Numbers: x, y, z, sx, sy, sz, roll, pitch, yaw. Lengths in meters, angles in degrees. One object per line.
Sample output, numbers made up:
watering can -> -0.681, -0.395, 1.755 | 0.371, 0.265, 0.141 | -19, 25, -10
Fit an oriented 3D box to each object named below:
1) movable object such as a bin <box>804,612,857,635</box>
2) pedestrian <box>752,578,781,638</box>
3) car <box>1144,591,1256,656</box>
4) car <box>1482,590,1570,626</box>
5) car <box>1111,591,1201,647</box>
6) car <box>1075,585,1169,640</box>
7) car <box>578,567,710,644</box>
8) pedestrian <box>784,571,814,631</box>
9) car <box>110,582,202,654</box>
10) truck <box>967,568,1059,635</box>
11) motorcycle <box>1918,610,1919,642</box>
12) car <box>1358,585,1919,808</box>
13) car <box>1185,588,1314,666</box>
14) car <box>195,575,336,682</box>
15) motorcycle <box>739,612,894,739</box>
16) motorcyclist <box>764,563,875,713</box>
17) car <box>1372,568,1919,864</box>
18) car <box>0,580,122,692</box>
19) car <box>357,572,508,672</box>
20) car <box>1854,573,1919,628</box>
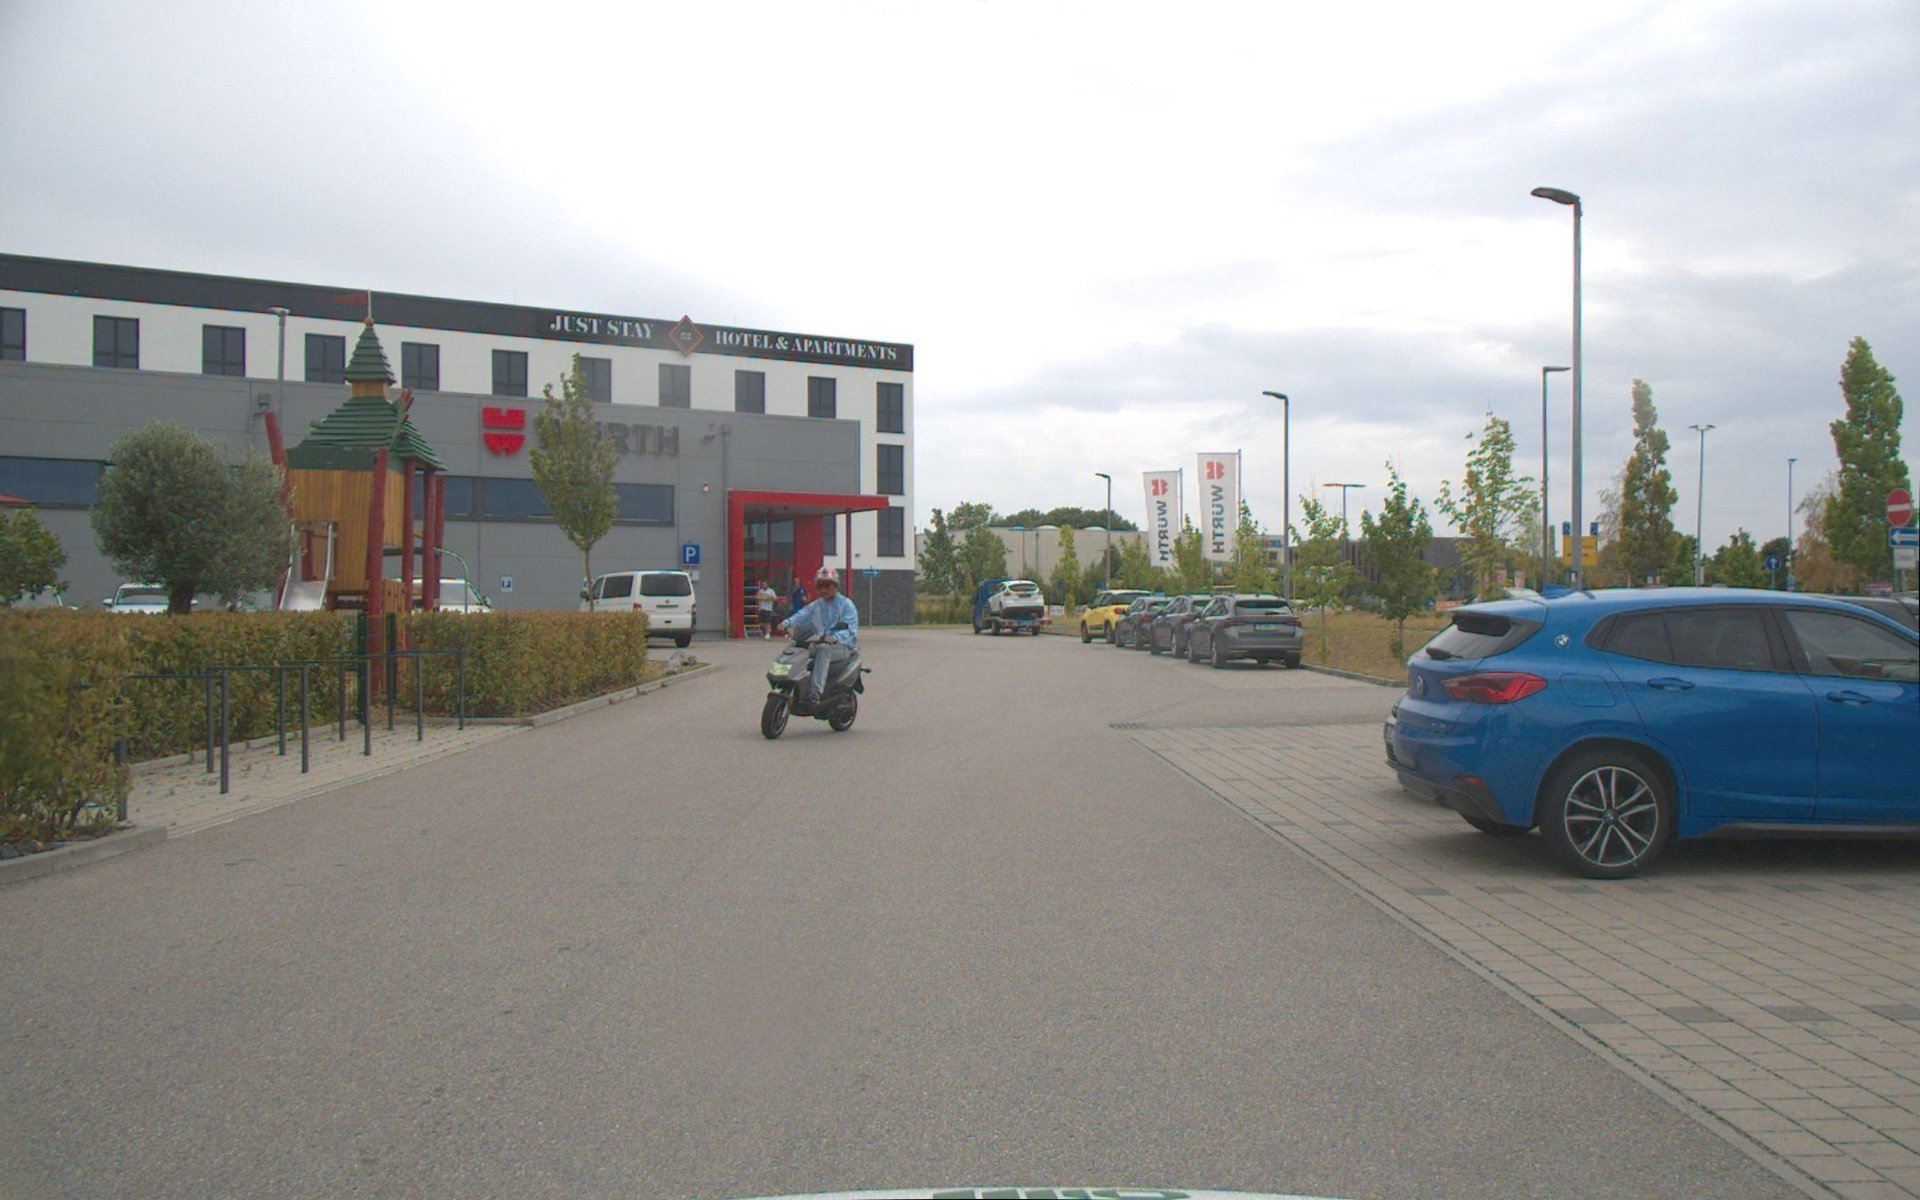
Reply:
movable object such as a bin -> -4.195, 0.765, 53.673 | 1.469, 0.716, 0.957 | 1, -1, -25
pedestrian -> -5.788, 0.246, 49.482 | 0.616, 1.782, 0.898 | 0, 0, -24
car -> 5.767, 0.542, 40.174 | 1.717, 1.495, 4.471 | 0, 0, -5
car -> 23.341, 0.301, 68.345 | 1.729, 1.419, 4.553 | 0, 0, -6
car -> 5.458, 0.512, 46.528 | 1.717, 1.495, 4.103 | 0, 0, -5
car -> 5.140, 0.408, 53.037 | 1.824, 1.679, 3.986 | 1, -1, -13
car -> -8.545, 0.167, 44.541 | 2.037, 1.887, 4.013 | -3, 1, -34
pedestrian -> -4.988, 0.025, 51.172 | 0.668, 1.834, 0.873 | 0, 0, -24
car -> -19.108, 0.421, 39.216 | 1.718, 1.579, 4.222 | -2, 0, -29
truck -> 2.114, 0.156, 69.348 | 2.289, 2.449, 7.876 | 1, -3, -10
motorcycle -> 22.399, 0.596, 36.813 | 0.798, 0.787, 2.025 | -5, 1, -6
car -> 5.184, 0.665, 12.405 | 3.978, 1.485, 1.776 | -1, 1, 1
car -> 5.926, 0.521, 34.327 | 1.716, 1.495, 4.473 | 0, 0, -3
car -> -12.331, 0.477, 29.202 | 1.970, 1.679, 4.538 | -2, 0, -27
motorcycle -> -1.465, 0.753, 17.273 | 0.776, 1.229, 1.921 | -1, 0, 24
motorcyclist -> -1.458, 0.385, 17.269 | 0.811, 1.515, 0.941 | -1, -1, 22
car -> 4.718, 0.614, 9.741 | 4.116, 1.571, 1.864 | 0, 0, -1
car -> -15.176, 0.573, 27.707 | 1.970, 1.679, 4.538 | -2, 0, -27
car -> -9.879, 0.395, 30.766 | 1.970, 1.679, 4.538 | -2, 0, -27
car -> 25.386, 0.004, 42.969 | 1.729, 1.419, 4.214 | 0, 0, -6
